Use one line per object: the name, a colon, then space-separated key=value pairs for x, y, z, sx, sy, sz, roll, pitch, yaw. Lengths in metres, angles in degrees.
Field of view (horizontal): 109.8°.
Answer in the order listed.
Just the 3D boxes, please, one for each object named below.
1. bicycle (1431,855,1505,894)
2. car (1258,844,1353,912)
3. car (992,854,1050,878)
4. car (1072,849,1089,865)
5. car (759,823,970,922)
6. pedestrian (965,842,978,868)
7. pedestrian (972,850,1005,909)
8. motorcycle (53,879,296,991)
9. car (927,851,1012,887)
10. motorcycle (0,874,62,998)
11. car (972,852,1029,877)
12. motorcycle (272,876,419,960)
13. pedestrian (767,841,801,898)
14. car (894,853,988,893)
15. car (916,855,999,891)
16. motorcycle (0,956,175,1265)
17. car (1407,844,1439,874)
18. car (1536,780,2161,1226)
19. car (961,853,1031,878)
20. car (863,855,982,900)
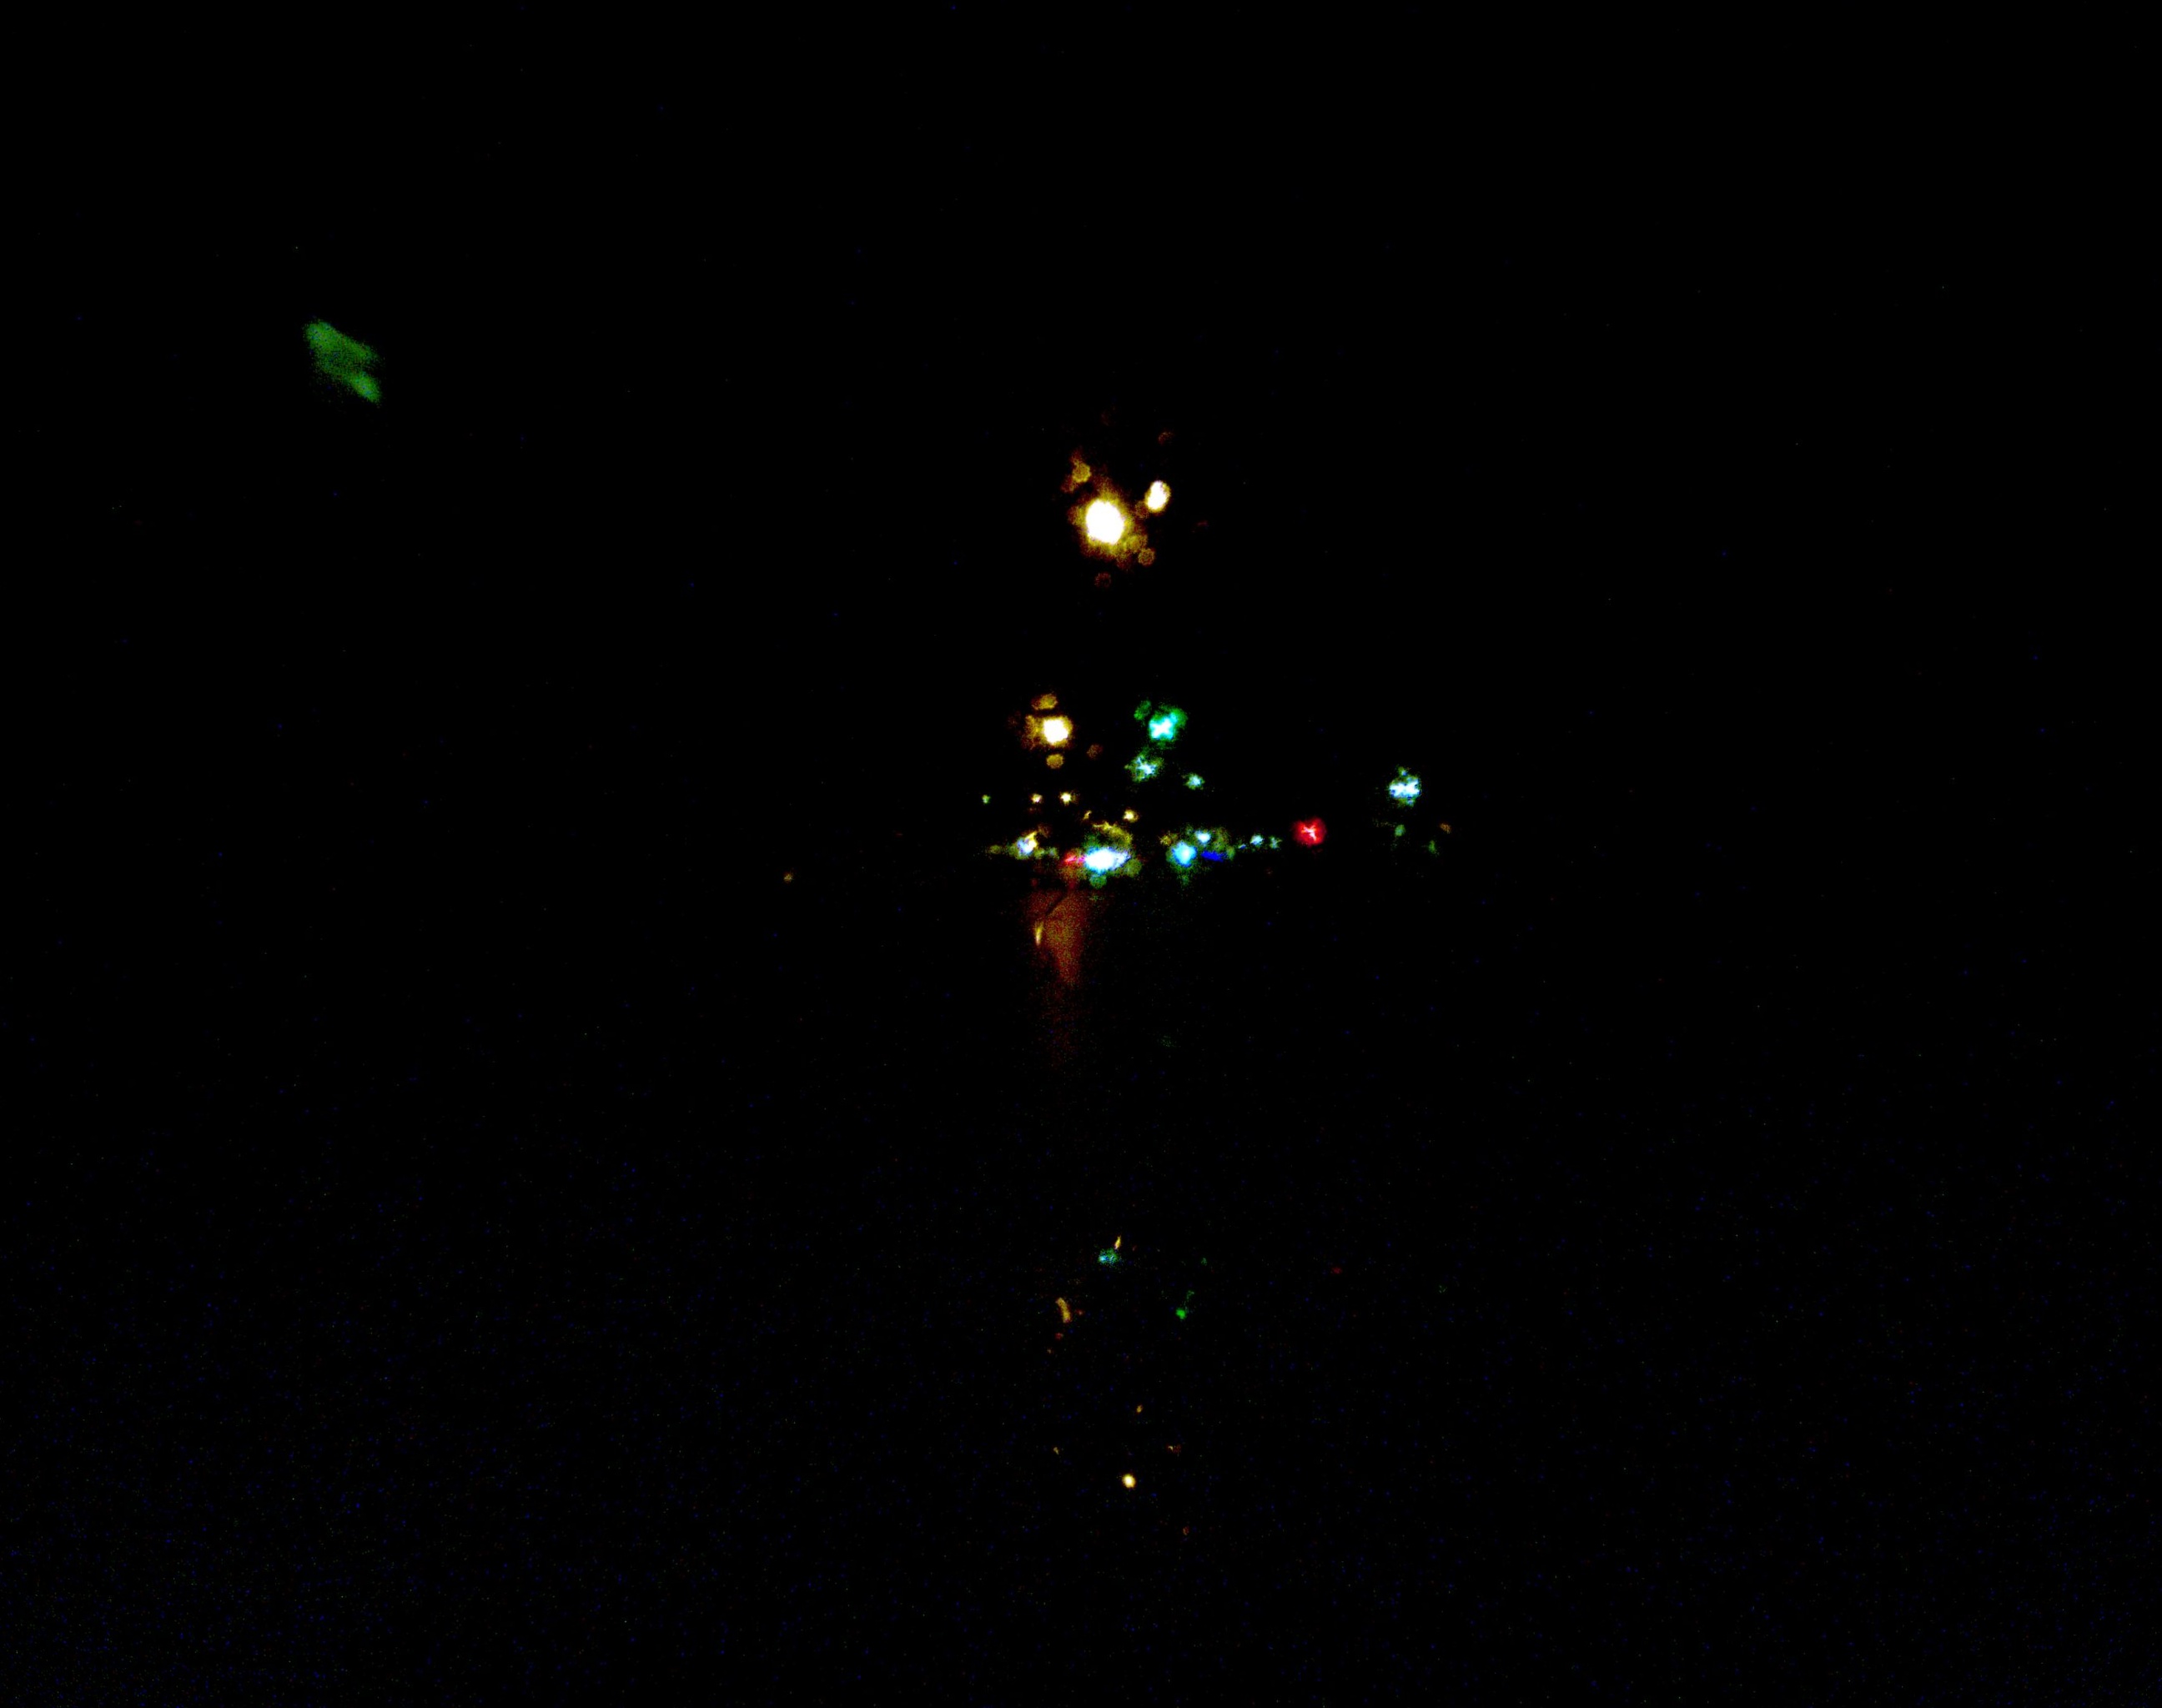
bicycle: x=11.787 y=0.617 z=23.193 sx=1.966 sy=1.174 sz=0.542 roll=0 pitch=1 yaw=19
car: x=6.065 y=0.582 z=21.003 sx=1.815 sy=1.660 sz=4.413 roll=-1 pitch=0 yaw=7
car: x=-4.146 y=0.781 z=52.509 sx=3.608 sy=1.552 sz=1.707 roll=-1 pitch=1 yaw=-37
car: x=-0.055 y=0.325 z=85.430 sx=1.810 sy=1.759 sz=4.272 roll=-1 pitch=0 yaw=1
car: x=-5.696 y=0.411 z=20.197 sx=4.950 sy=2.327 sz=2.226 roll=-1 pitch=1 yaw=-33
pedestrian: x=-8.445 y=0.085 z=58.643 sx=0.806 sy=1.894 sz=0.884 roll=1 pitch=-1 yaw=0
pedestrian: x=-2.808 y=0.755 z=23.249 sx=0.824 sy=1.760 sz=1.177 roll=-1 pitch=1 yaw=1
motorcycle: x=-10.537 y=0.879 z=8.972 sx=0.524 sy=1.061 sz=2.056 roll=-2 pitch=1 yaw=-6
car: x=-5.549 y=0.700 z=37.900 sx=3.808 sy=1.679 sz=1.832 roll=-1 pitch=1 yaw=-29
motorcycle: x=-10.862 y=0.817 z=6.815 sx=0.524 sy=1.200 sz=2.125 roll=-1 pitch=0 yaw=1
car: x=-5.342 y=0.706 z=50.403 sx=3.403 sy=1.583 sz=1.590 roll=1 pitch=0 yaw=-35
motorcycle: x=-10.587 y=0.880 z=11.022 sx=0.524 sy=1.061 sz=1.624 roll=-2 pitch=0 yaw=-1
pedestrian: x=-9.727 y=0.505 z=24.892 sx=0.747 sy=1.829 sz=0.843 roll=1 pitch=-1 yaw=0
car: x=-5.856 y=0.750 z=31.918 sx=3.518 sy=1.552 sz=1.590 roll=-1 pitch=1 yaw=-34
car: x=-5.683 y=0.841 z=35.014 sx=3.403 sy=1.552 sz=1.590 roll=-1 pitch=1 yaw=-36
motorcycle: x=-5.056 y=1.029 z=3.174 sx=1.637 sy=1.117 sz=0.652 roll=1 pitch=0 yaw=-5
car: x=21.079 y=0.320 z=46.727 sx=1.696 sy=1.718 sz=4.007 roll=1 pitch=0 yaw=26
car: x=5.470 y=0.591 z=5.302 sx=1.871 sy=1.835 sz=4.827 roll=-1 pitch=0 yaw=2
car: x=-5.287 y=0.724 z=47.410 sx=4.123 sy=1.483 sz=1.590 roll=1 pitch=0 yaw=-36
car: x=-5.922 y=0.824 z=28.462 sx=4.058 sy=1.552 sz=1.747 roll=-1 pitch=1 yaw=-28
